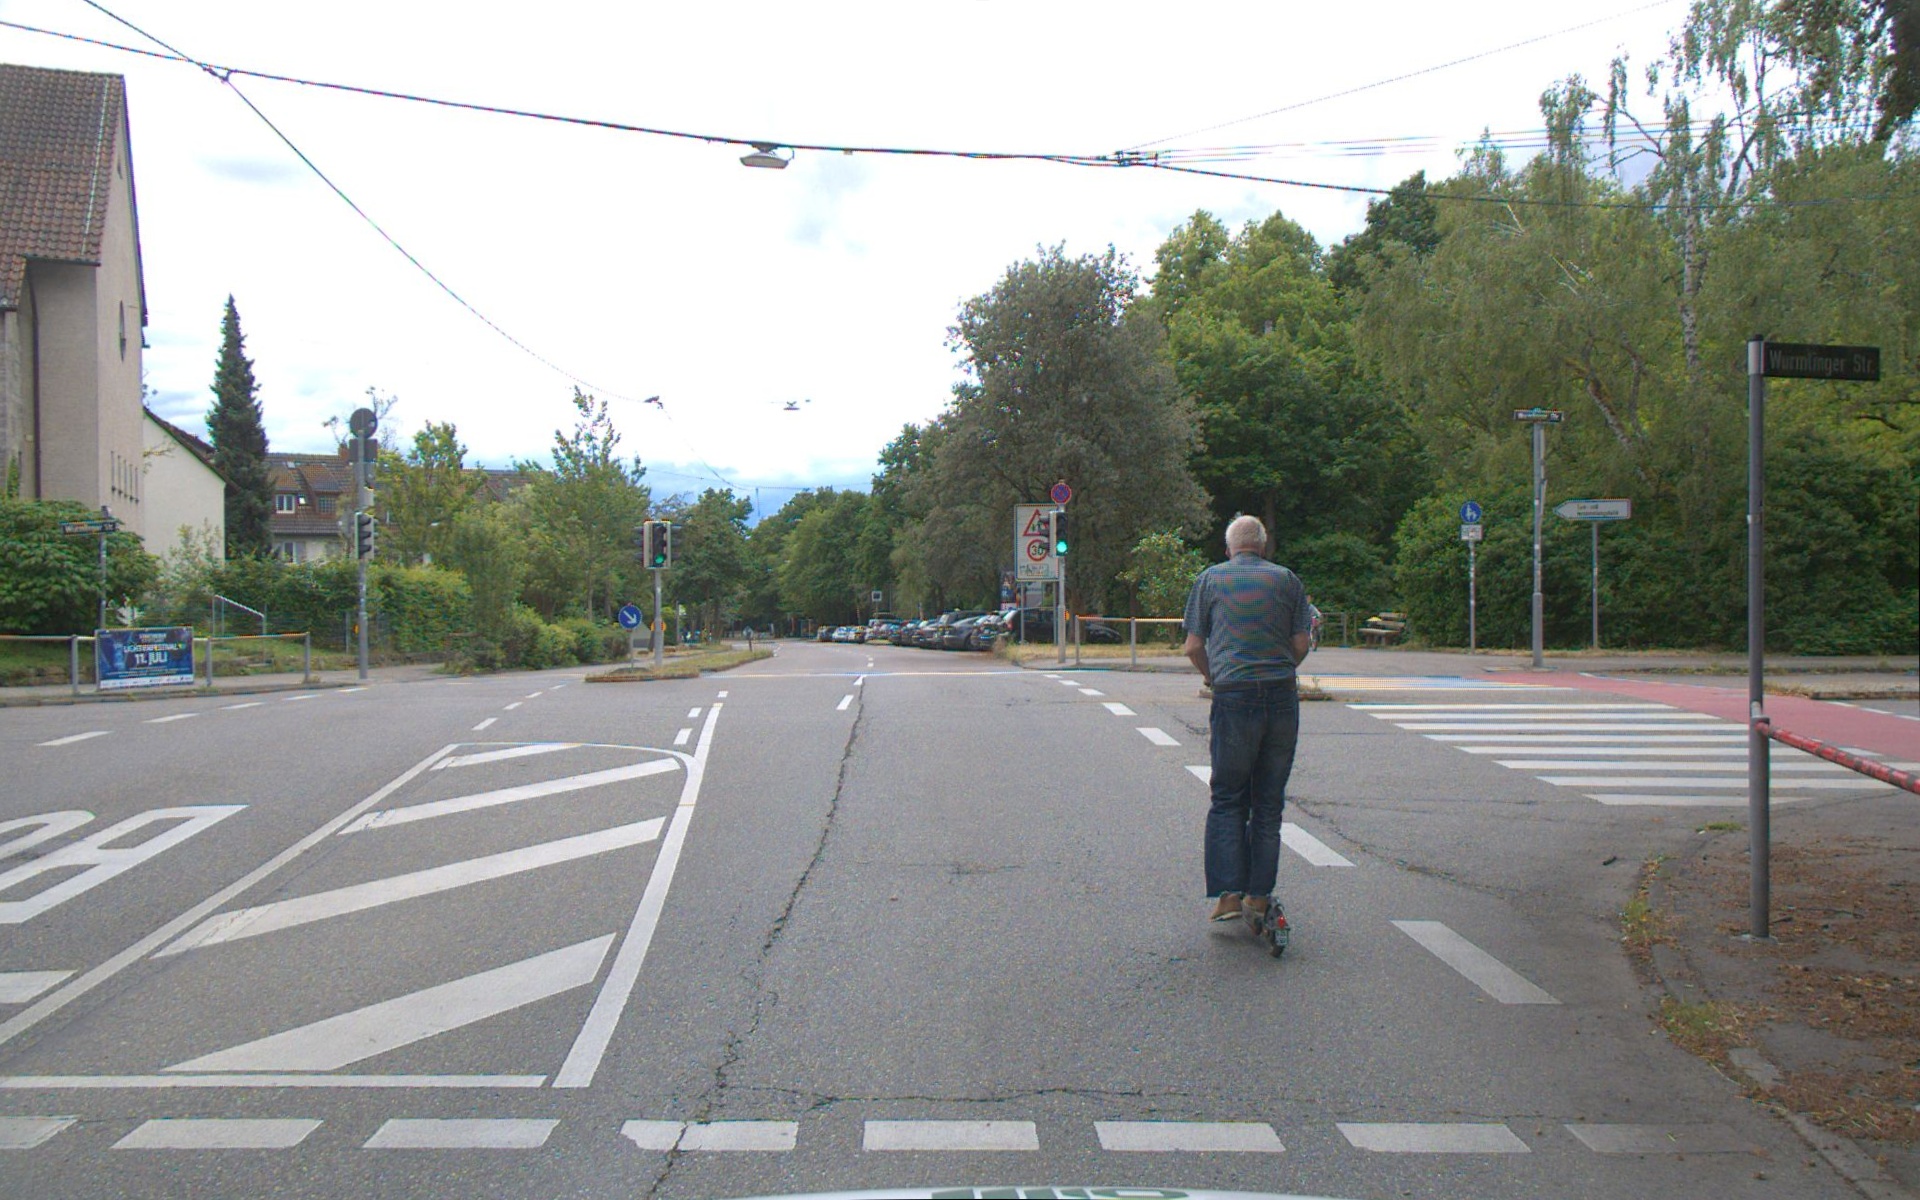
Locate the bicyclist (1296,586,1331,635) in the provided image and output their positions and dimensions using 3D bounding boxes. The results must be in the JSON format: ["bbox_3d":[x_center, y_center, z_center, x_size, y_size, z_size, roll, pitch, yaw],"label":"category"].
[{"bbox_3d":[8.650,0.250,40.468,0.626,1.182,0.803,-1,0,-3],"label":"bicyclist"}]

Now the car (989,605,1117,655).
[{"bbox_3d":[2.818,0.908,50.381,3.647,1.502,1.573,0,-1,-9],"label":"car"}]

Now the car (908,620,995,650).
[{"bbox_3d":[-0.415,1.694,79.853,3.970,1.351,1.552,0,-2,-16],"label":"car"}]

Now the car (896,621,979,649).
[{"bbox_3d":[-1.234,1.895,90.211,4.281,1.471,1.624,0,-1,-21],"label":"car"}]

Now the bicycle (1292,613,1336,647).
[{"bbox_3d":[8.657,0.732,40.496,0.626,0.771,1.680,-1,1,-2],"label":"bicycle"}]

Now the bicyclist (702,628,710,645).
[{"bbox_3d":[-26.151,3.784,170.339,0.829,1.727,0.712,0,-1,-8],"label":"bicyclist"}]

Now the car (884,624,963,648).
[{"bbox_3d":[-2.092,2.082,95.595,4.249,1.365,1.723,0,-2,-21],"label":"car"}]

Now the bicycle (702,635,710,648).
[{"bbox_3d":[-26.149,4.241,170.232,0.829,1.288,2.647,0,-1,-8],"label":"bicycle"}]

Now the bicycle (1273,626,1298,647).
[{"bbox_3d":[8.402,0.948,42.666,0.507,0.506,0.989,-1,-2,5],"label":"bicycle"}]

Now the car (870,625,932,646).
[{"bbox_3d":[-4.025,2.456,113.378,3.908,1.430,1.745,1,-2,-22],"label":"car"}]

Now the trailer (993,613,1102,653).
[{"bbox_3d":[2.949,1.109,55.909,3.346,1.289,1.609,0,-2,-16],"label":"trailer"}]

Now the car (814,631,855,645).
[{"bbox_3d":[-12.849,3.877,168.930,3.837,1.454,1.729,0,-2,-27],"label":"car"}]

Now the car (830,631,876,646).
[{"bbox_3d":[-9.721,3.485,150.849,3.845,1.332,1.725,0,-2,-31],"label":"car"}]

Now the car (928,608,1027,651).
[{"bbox_3d":[0.728,1.259,70.171,3.921,1.755,1.673,0,-2,-16],"label":"car"}]

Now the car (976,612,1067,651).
[{"bbox_3d":[2.424,1.245,65.602,3.271,1.490,1.628,0,-2,-15],"label":"car"}]

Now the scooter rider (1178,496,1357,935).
[{"bbox_3d":[1.318,0.458,7.262,0.667,1.760,1.197,0,1,6],"label":"scooter rider"}]

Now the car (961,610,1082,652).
[{"bbox_3d":[2.240,1.132,60.748,4.150,1.490,1.628,0,-1,-15],"label":"car"}]

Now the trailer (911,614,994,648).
[{"bbox_3d":[-0.359,1.457,77.676,3.631,1.562,1.637,0,-1,-18],"label":"trailer"}]

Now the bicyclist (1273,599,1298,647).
[{"bbox_3d":[8.401,0.601,42.677,0.507,1.208,0.968,-1,-2,5],"label":"bicyclist"}]

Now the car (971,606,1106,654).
[{"bbox_3d":[2.505,0.952,52.995,4.070,1.502,1.569,0,-2,-17],"label":"car"}]

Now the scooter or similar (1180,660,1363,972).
[{"bbox_3d":[1.332,0.881,7.288,0.667,1.159,1.461,0,1,6],"label":"scooter or similar"}]

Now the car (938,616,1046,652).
[{"bbox_3d":[1.309,1.376,67.444,4.094,1.431,1.689,0,-2,-18],"label":"car"}]
